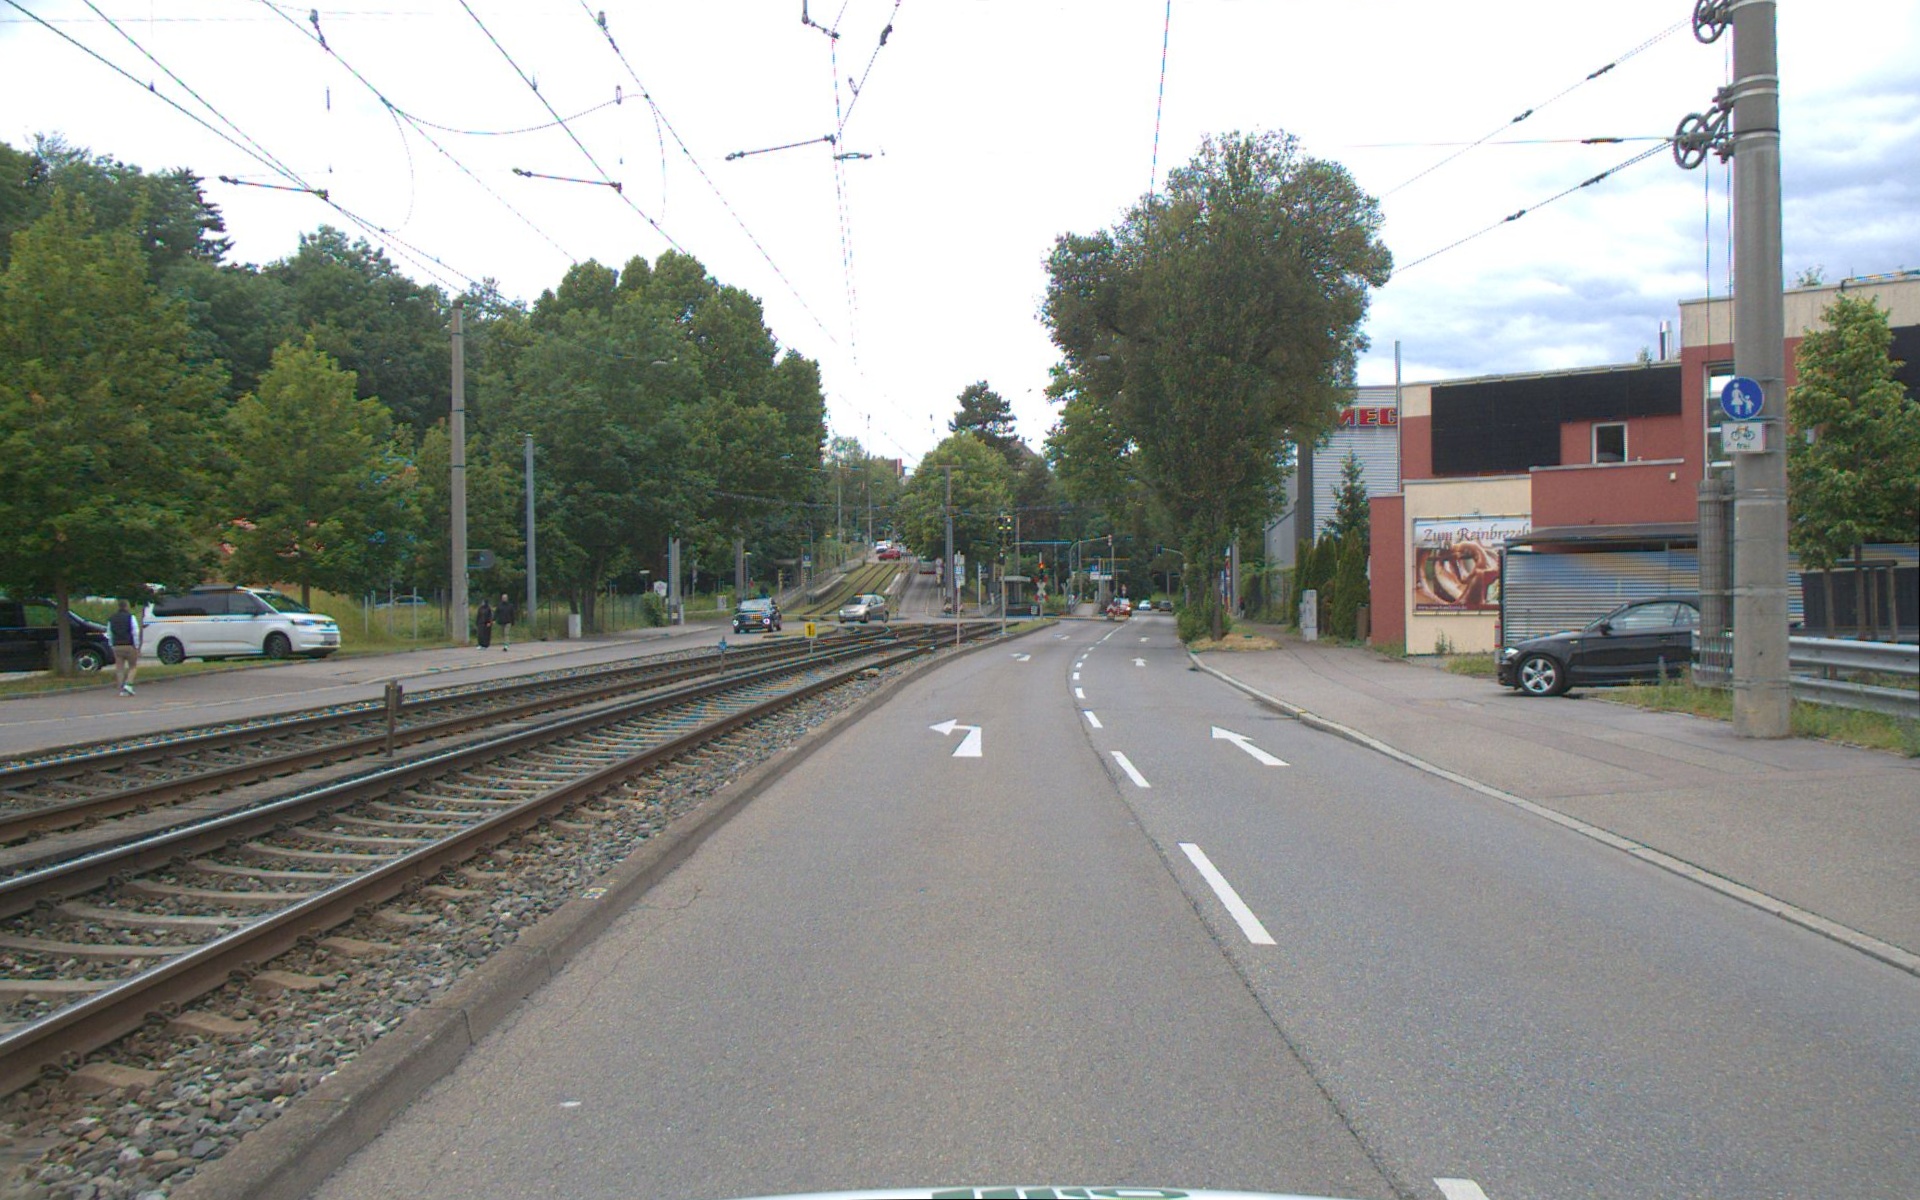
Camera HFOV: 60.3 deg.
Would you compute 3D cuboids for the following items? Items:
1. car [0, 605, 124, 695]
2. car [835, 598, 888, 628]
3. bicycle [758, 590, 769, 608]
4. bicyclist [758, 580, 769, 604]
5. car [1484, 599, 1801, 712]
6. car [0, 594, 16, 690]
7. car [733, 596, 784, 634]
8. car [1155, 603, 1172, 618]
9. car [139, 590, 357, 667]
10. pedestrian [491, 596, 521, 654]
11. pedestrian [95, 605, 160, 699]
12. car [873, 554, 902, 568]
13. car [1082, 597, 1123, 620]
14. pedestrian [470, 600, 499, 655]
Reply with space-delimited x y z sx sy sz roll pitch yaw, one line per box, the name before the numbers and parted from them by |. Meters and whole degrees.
car | -22.721 1.181 39.107 5.016 2.049 2.139 -1 0 -36
car | -5.700 0.739 95.965 1.850 1.558 4.260 -4 0 13
bicycle | -15.410 -0.090 129.896 0.808 1.367 2.992 -1 0 -7
bicyclist | -15.439 -0.646 130.012 0.805 1.881 1.050 -1 0 -8
car | 10.046 0.760 24.403 4.140 1.468 1.760 1 1 29
car | -21.448 0.907 33.301 1.953 2.049 5.129 -1 0 -1
car | -9.206 0.660 75.709 1.652 1.558 4.256 -4 0 1
car | 26.850 1.381 218.351 1.952 1.847 4.002 -1 0 3
car | -18.661 0.743 43.408 4.948 1.921 2.168 0 -1 14
pedestrian | -14.529 0.789 52.955 0.662 1.845 0.856 1 0 4
pedestrian | -15.449 0.961 30.713 0.704 1.684 1.041 2 0 -6
car | -10.709 -5.735 243.857 3.902 2.049 2.002 -1 0 12
car | 9.873 0.560 114.211 1.951 1.542 4.503 0 0 16
pedestrian | -15.235 0.874 53.017 0.615 1.743 0.856 1 0 4
